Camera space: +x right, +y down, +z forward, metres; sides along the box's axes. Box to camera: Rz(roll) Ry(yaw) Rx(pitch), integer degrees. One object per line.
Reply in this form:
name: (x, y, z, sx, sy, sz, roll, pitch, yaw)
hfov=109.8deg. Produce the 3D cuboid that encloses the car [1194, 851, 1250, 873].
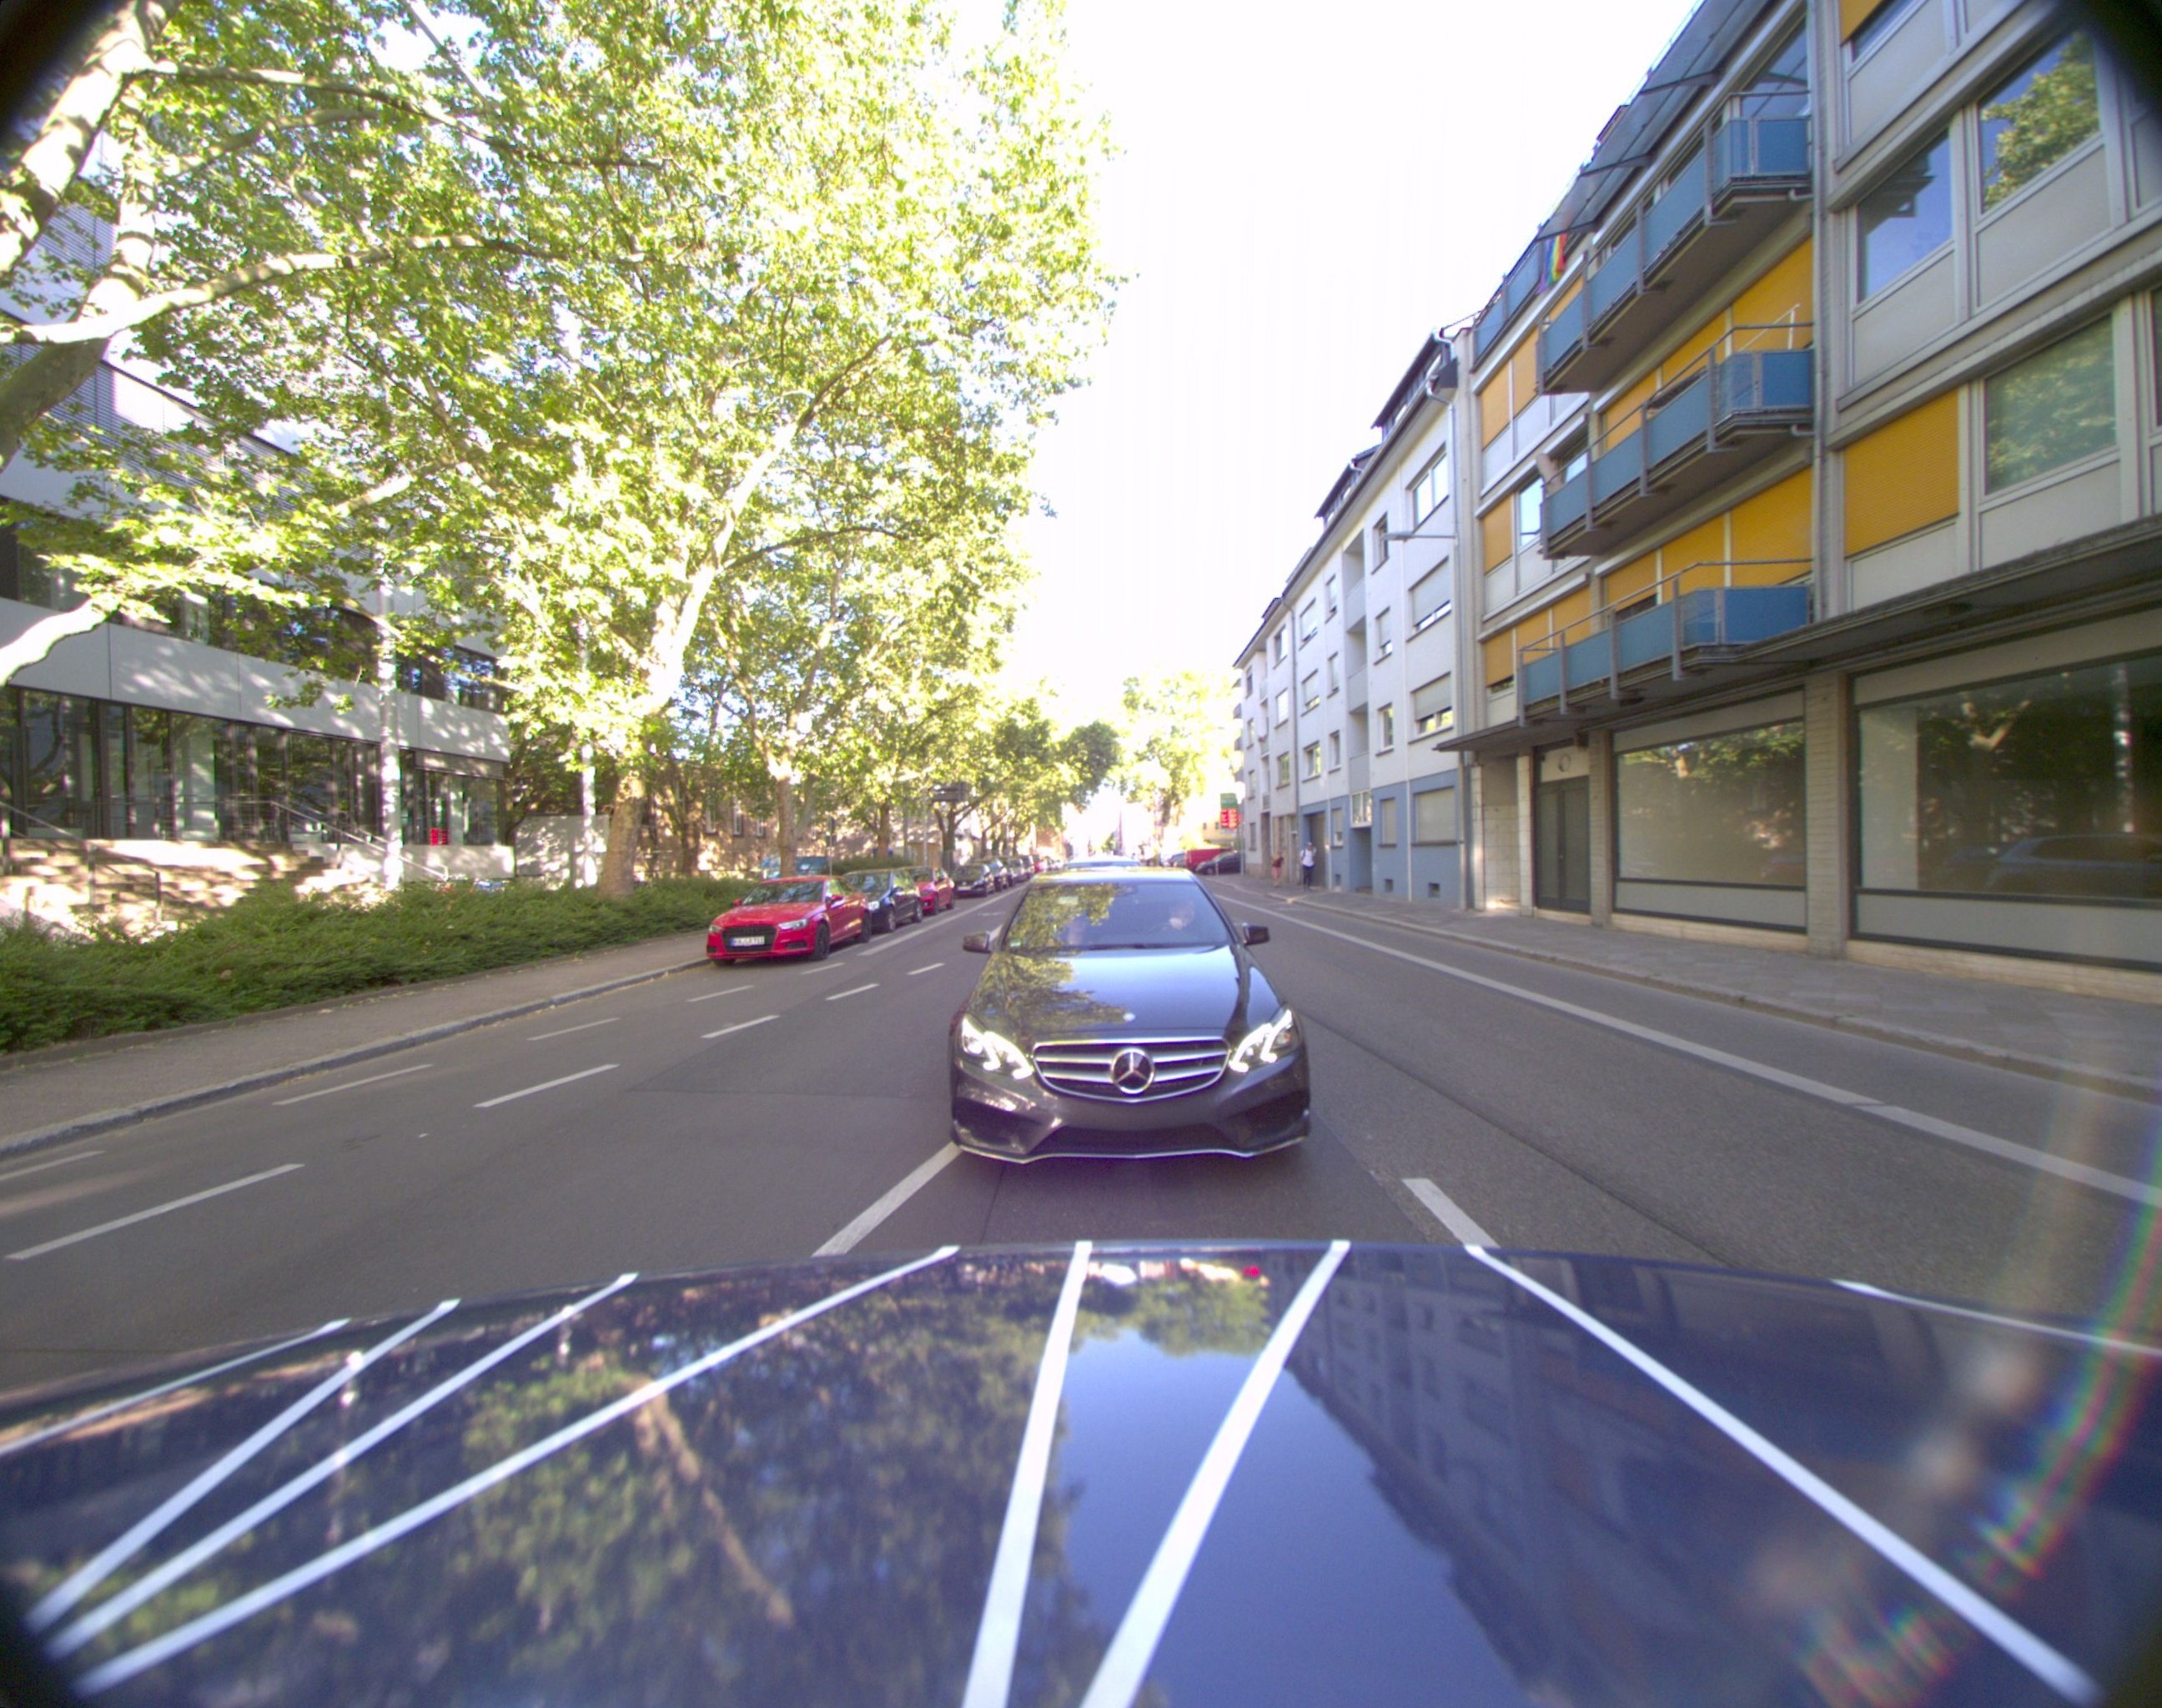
car: (10.108, 0.567, 54.727, 3.670, 1.403, 1.636, -3, 0, 1)

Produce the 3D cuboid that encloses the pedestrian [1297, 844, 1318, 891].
pedestrian: (8.476, 0.494, 28.440, 0.569, 1.716, 0.343, -3, 1, 1)

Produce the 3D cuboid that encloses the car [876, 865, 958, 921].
car: (-5.000, 1.152, 23.641, 1.635, 1.455, 3.740, -3, 0, 1)

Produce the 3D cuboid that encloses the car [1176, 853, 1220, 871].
car: (9.629, 0.644, 62.611, 3.325, 1.241, 1.295, -3, 0, 1)

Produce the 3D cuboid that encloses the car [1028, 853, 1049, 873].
car: (-3.926, 0.793, 70.790, 1.635, 1.713, 3.673, -3, 0, 1)

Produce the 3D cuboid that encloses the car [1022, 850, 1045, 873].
car: (-4.135, 0.650, 66.117, 1.635, 1.878, 3.673, -3, 0, 1)

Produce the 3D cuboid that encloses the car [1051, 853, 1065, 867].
car: (-3.043, 0.802, 102.808, 1.635, 1.713, 3.673, -3, 0, 1)

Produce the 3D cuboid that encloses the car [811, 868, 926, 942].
car: (-5.028, 1.154, 18.466, 1.635, 1.455, 3.740, -3, 0, 1)

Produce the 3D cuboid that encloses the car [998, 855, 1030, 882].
car: (-4.428, 0.906, 50.719, 1.635, 1.644, 3.845, -3, 0, 1)

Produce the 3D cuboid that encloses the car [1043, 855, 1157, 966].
car: (0.327, 0.885, 13.828, 1.680, 1.622, 4.125, -3, 0, 1)

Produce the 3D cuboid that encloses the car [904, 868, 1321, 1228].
car: (0.170, 0.915, 5.483, 1.804, 1.455, 4.125, -3, 0, 1)

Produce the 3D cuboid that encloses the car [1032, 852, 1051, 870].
car: (-4.045, 0.732, 78.089, 1.635, 1.713, 3.673, -3, 0, 1)

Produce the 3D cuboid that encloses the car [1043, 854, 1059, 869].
car: (-3.637, 0.937, 92.517, 1.635, 1.713, 3.673, -3, 0, 1)

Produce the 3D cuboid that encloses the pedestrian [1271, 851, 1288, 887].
pedestrian: (8.580, 0.646, 32.818, 0.569, 1.509, 0.343, -3, 1, 1)

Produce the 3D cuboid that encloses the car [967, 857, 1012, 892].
car: (-4.529, 0.978, 38.056, 1.635, 1.578, 3.845, -3, 0, 1)

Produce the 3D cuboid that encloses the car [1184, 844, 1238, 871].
car: (10.228, 0.270, 59.957, 3.927, 1.912, 1.636, -3, 0, 1)

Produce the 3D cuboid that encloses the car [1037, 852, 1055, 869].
car: (-3.951, 0.727, 86.094, 1.635, 1.713, 3.673, -3, 0, 1)

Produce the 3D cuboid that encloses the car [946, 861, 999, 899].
car: (-4.684, 1.101, 33.261, 1.635, 1.455, 3.740, -3, 0, 1)

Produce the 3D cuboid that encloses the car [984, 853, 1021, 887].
car: (-4.484, 0.862, 43.915, 1.635, 1.795, 3.845, -3, 0, 1)

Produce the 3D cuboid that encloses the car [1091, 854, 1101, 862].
car: (2.816, 0.756, 141.432, 1.853, 1.455, 4.099, -3, 0, 1)

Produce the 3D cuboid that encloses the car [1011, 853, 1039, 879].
car: (-4.072, 0.837, 55.562, 1.635, 1.799, 3.673, -3, 0, 1)

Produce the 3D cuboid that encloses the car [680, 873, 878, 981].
car: (-5.163, 1.169, 13.677, 1.804, 1.455, 4.125, -3, 0, 1)
